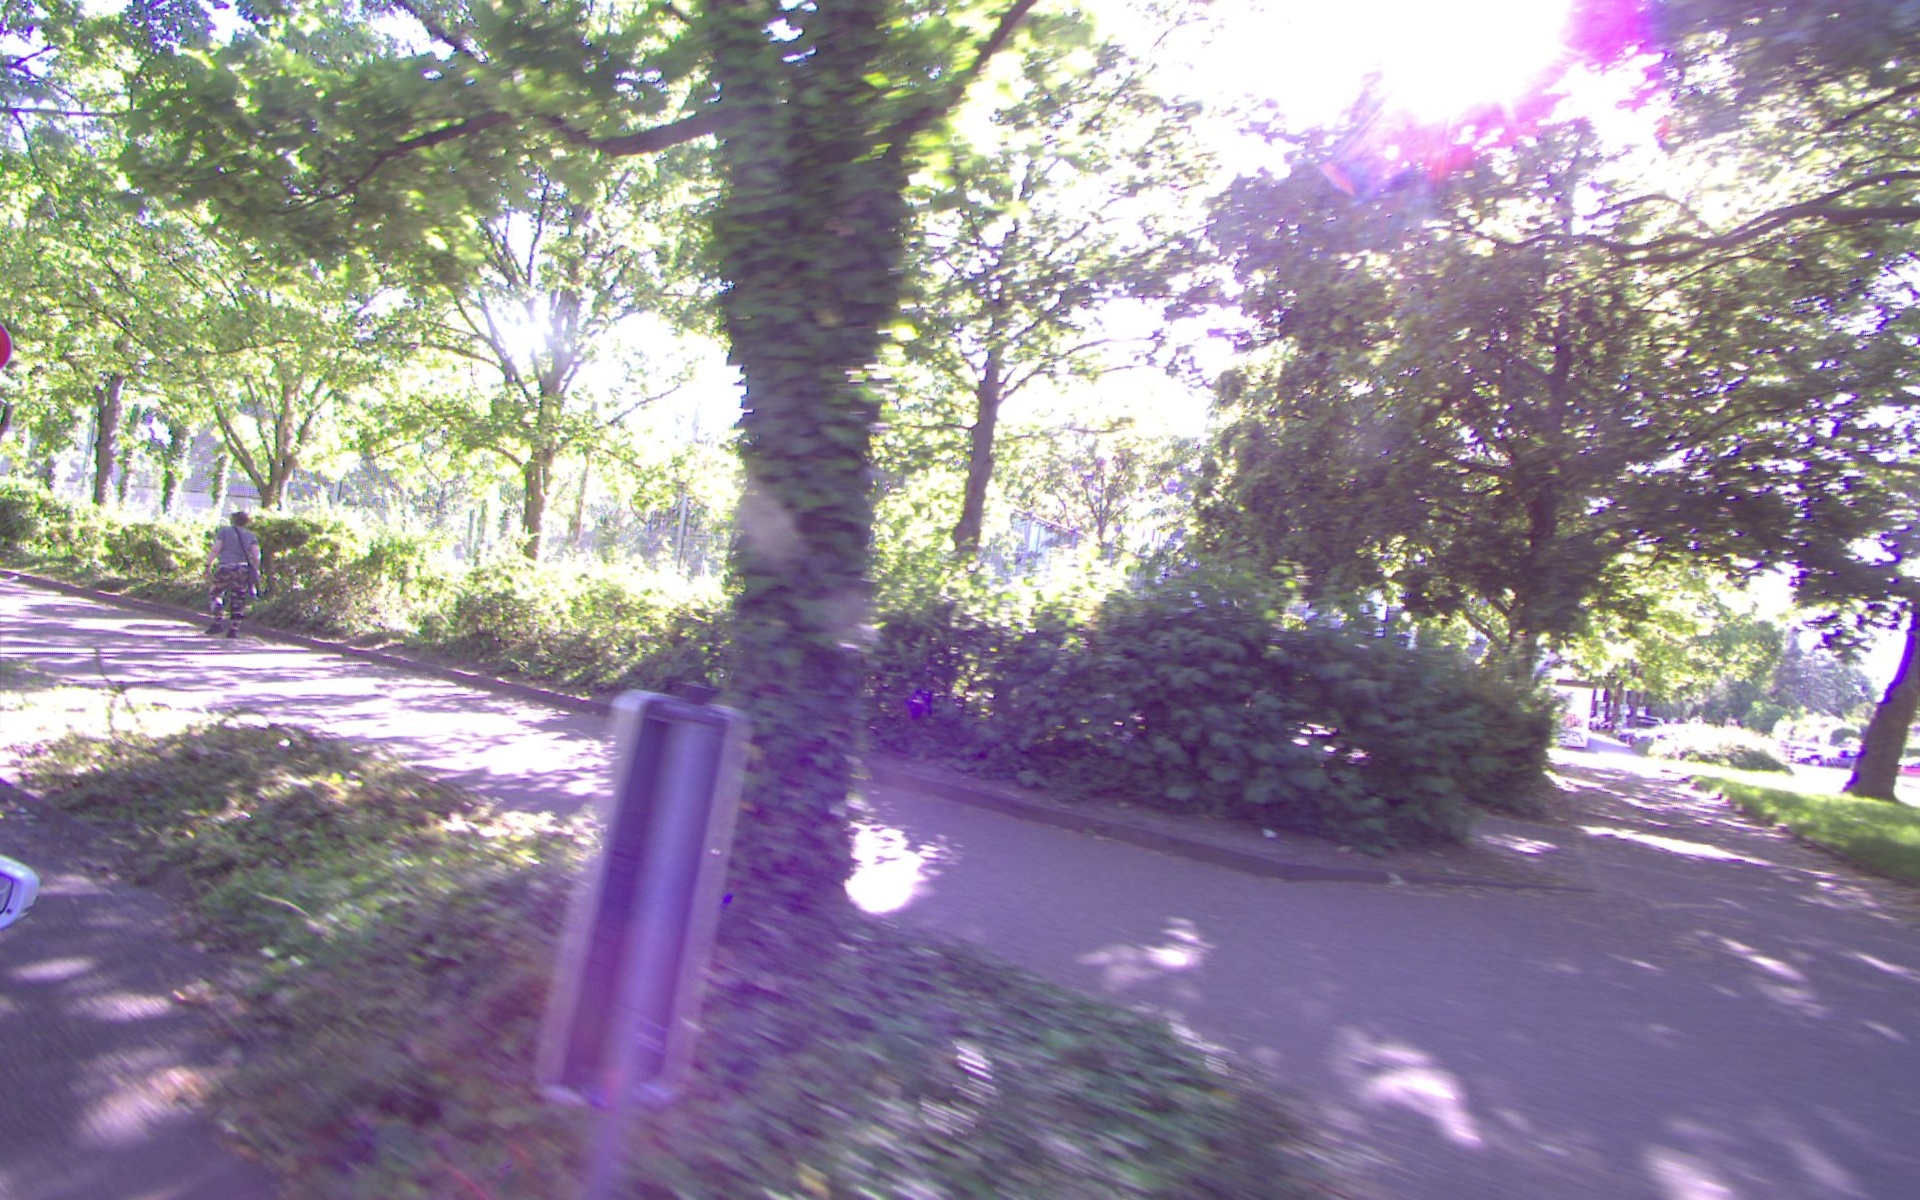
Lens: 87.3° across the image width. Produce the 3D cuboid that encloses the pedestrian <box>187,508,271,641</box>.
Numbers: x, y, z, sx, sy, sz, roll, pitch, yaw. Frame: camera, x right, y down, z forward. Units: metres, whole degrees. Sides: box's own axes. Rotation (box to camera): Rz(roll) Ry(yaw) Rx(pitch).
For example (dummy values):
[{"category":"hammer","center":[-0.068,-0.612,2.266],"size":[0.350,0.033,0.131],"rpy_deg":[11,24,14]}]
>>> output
[{"category":"pedestrian","center":[-9.535,-0.336,13.128],"size":[0.661,1.627,0.571],"rpy_deg":[7,-1,40]}]

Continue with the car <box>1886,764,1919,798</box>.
[{"category":"car","center":[45.886,8.654,46.538],"size":[4.084,1.381,1.749],"rpy_deg":[7,-3,29]}]

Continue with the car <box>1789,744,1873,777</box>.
[{"category":"car","center":[59.018,10.860,68.239],"size":[3.935,1.545,1.998],"rpy_deg":[6,-4,33]}]

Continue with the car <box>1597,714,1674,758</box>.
[{"category":"car","center":[46.009,9.269,68.613],"size":[3.930,2.316,2.001],"rpy_deg":[7,-3,28]}]

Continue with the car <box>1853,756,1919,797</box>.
[{"category":"car","center":[49.264,9.278,52.236],"size":[3.935,1.641,1.998],"rpy_deg":[6,-4,33]}]

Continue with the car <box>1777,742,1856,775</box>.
[{"category":"car","center":[60.881,11.283,71.584],"size":[3.935,1.641,1.998],"rpy_deg":[6,-4,33]}]
